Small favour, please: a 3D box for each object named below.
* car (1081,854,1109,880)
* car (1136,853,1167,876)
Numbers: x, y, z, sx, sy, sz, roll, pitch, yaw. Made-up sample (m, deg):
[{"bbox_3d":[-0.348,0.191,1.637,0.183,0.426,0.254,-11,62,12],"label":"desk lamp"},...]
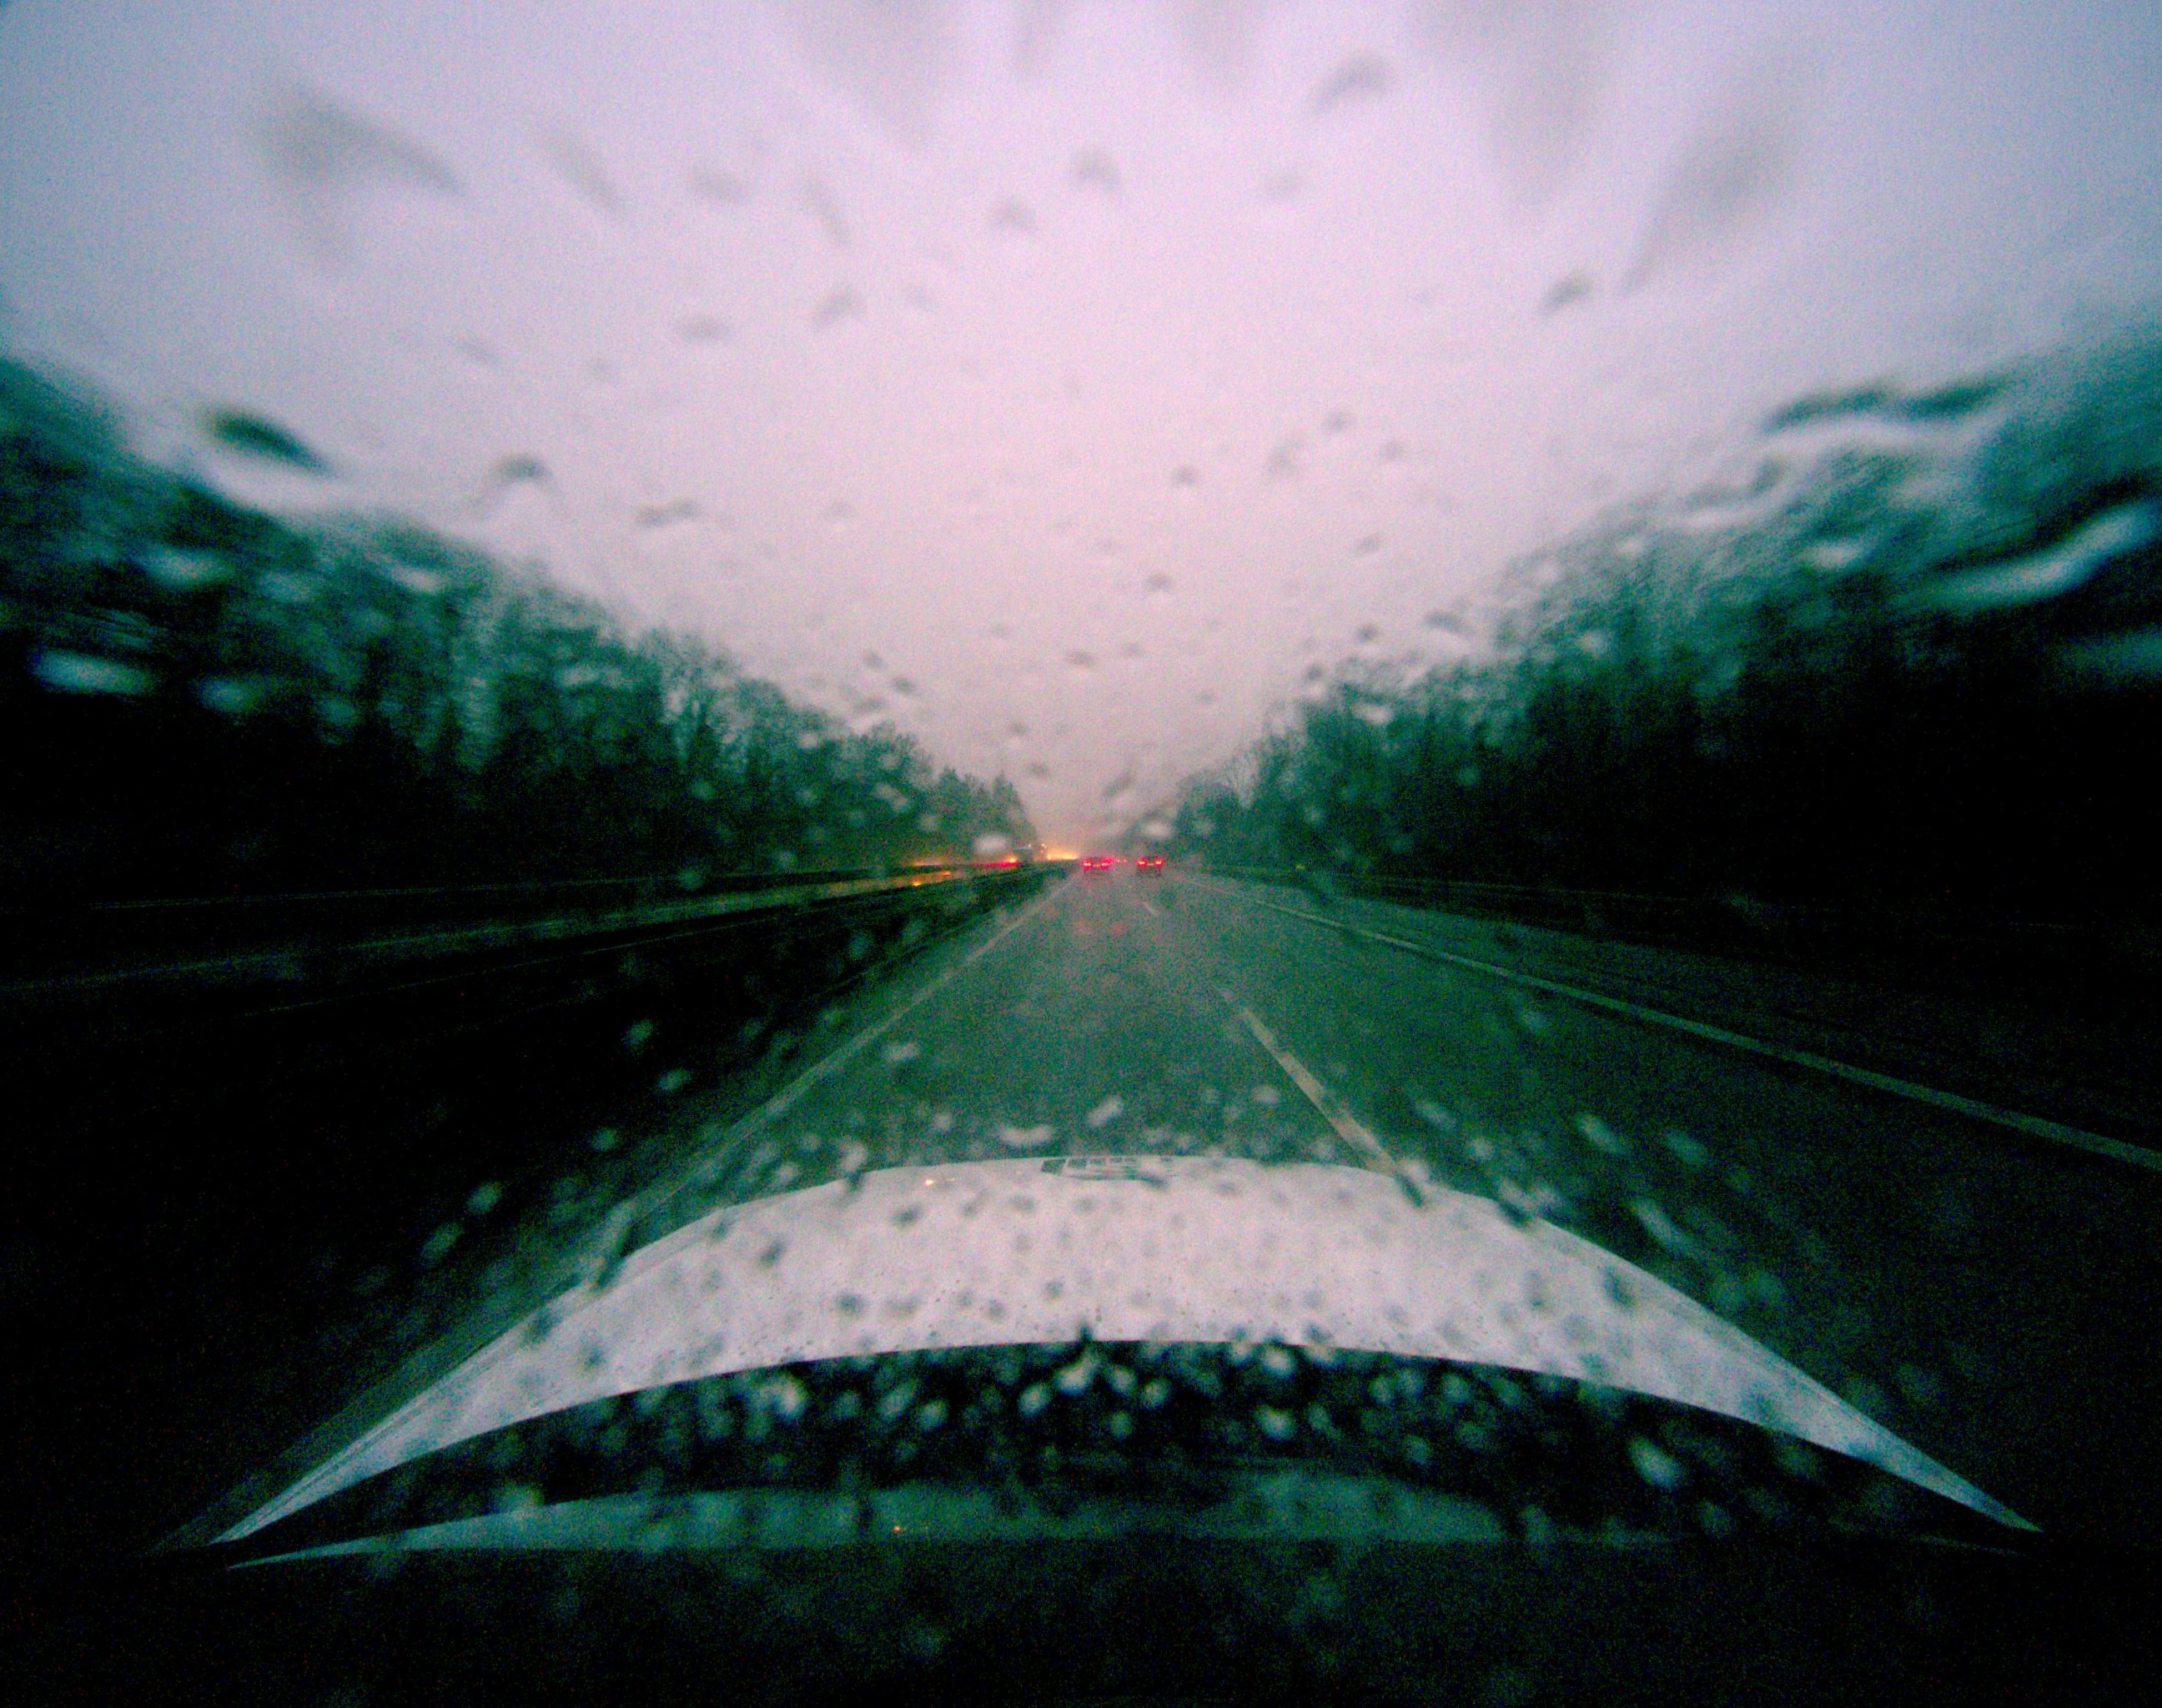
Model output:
[{"bbox_3d":[0.984,0.905,58.973,1.980,1.767,4.172,-1,-1,0],"label":"car"},{"bbox_3d":[5.396,0.789,62.846,2.063,1.698,4.461,-1,0,1],"label":"car"}]
